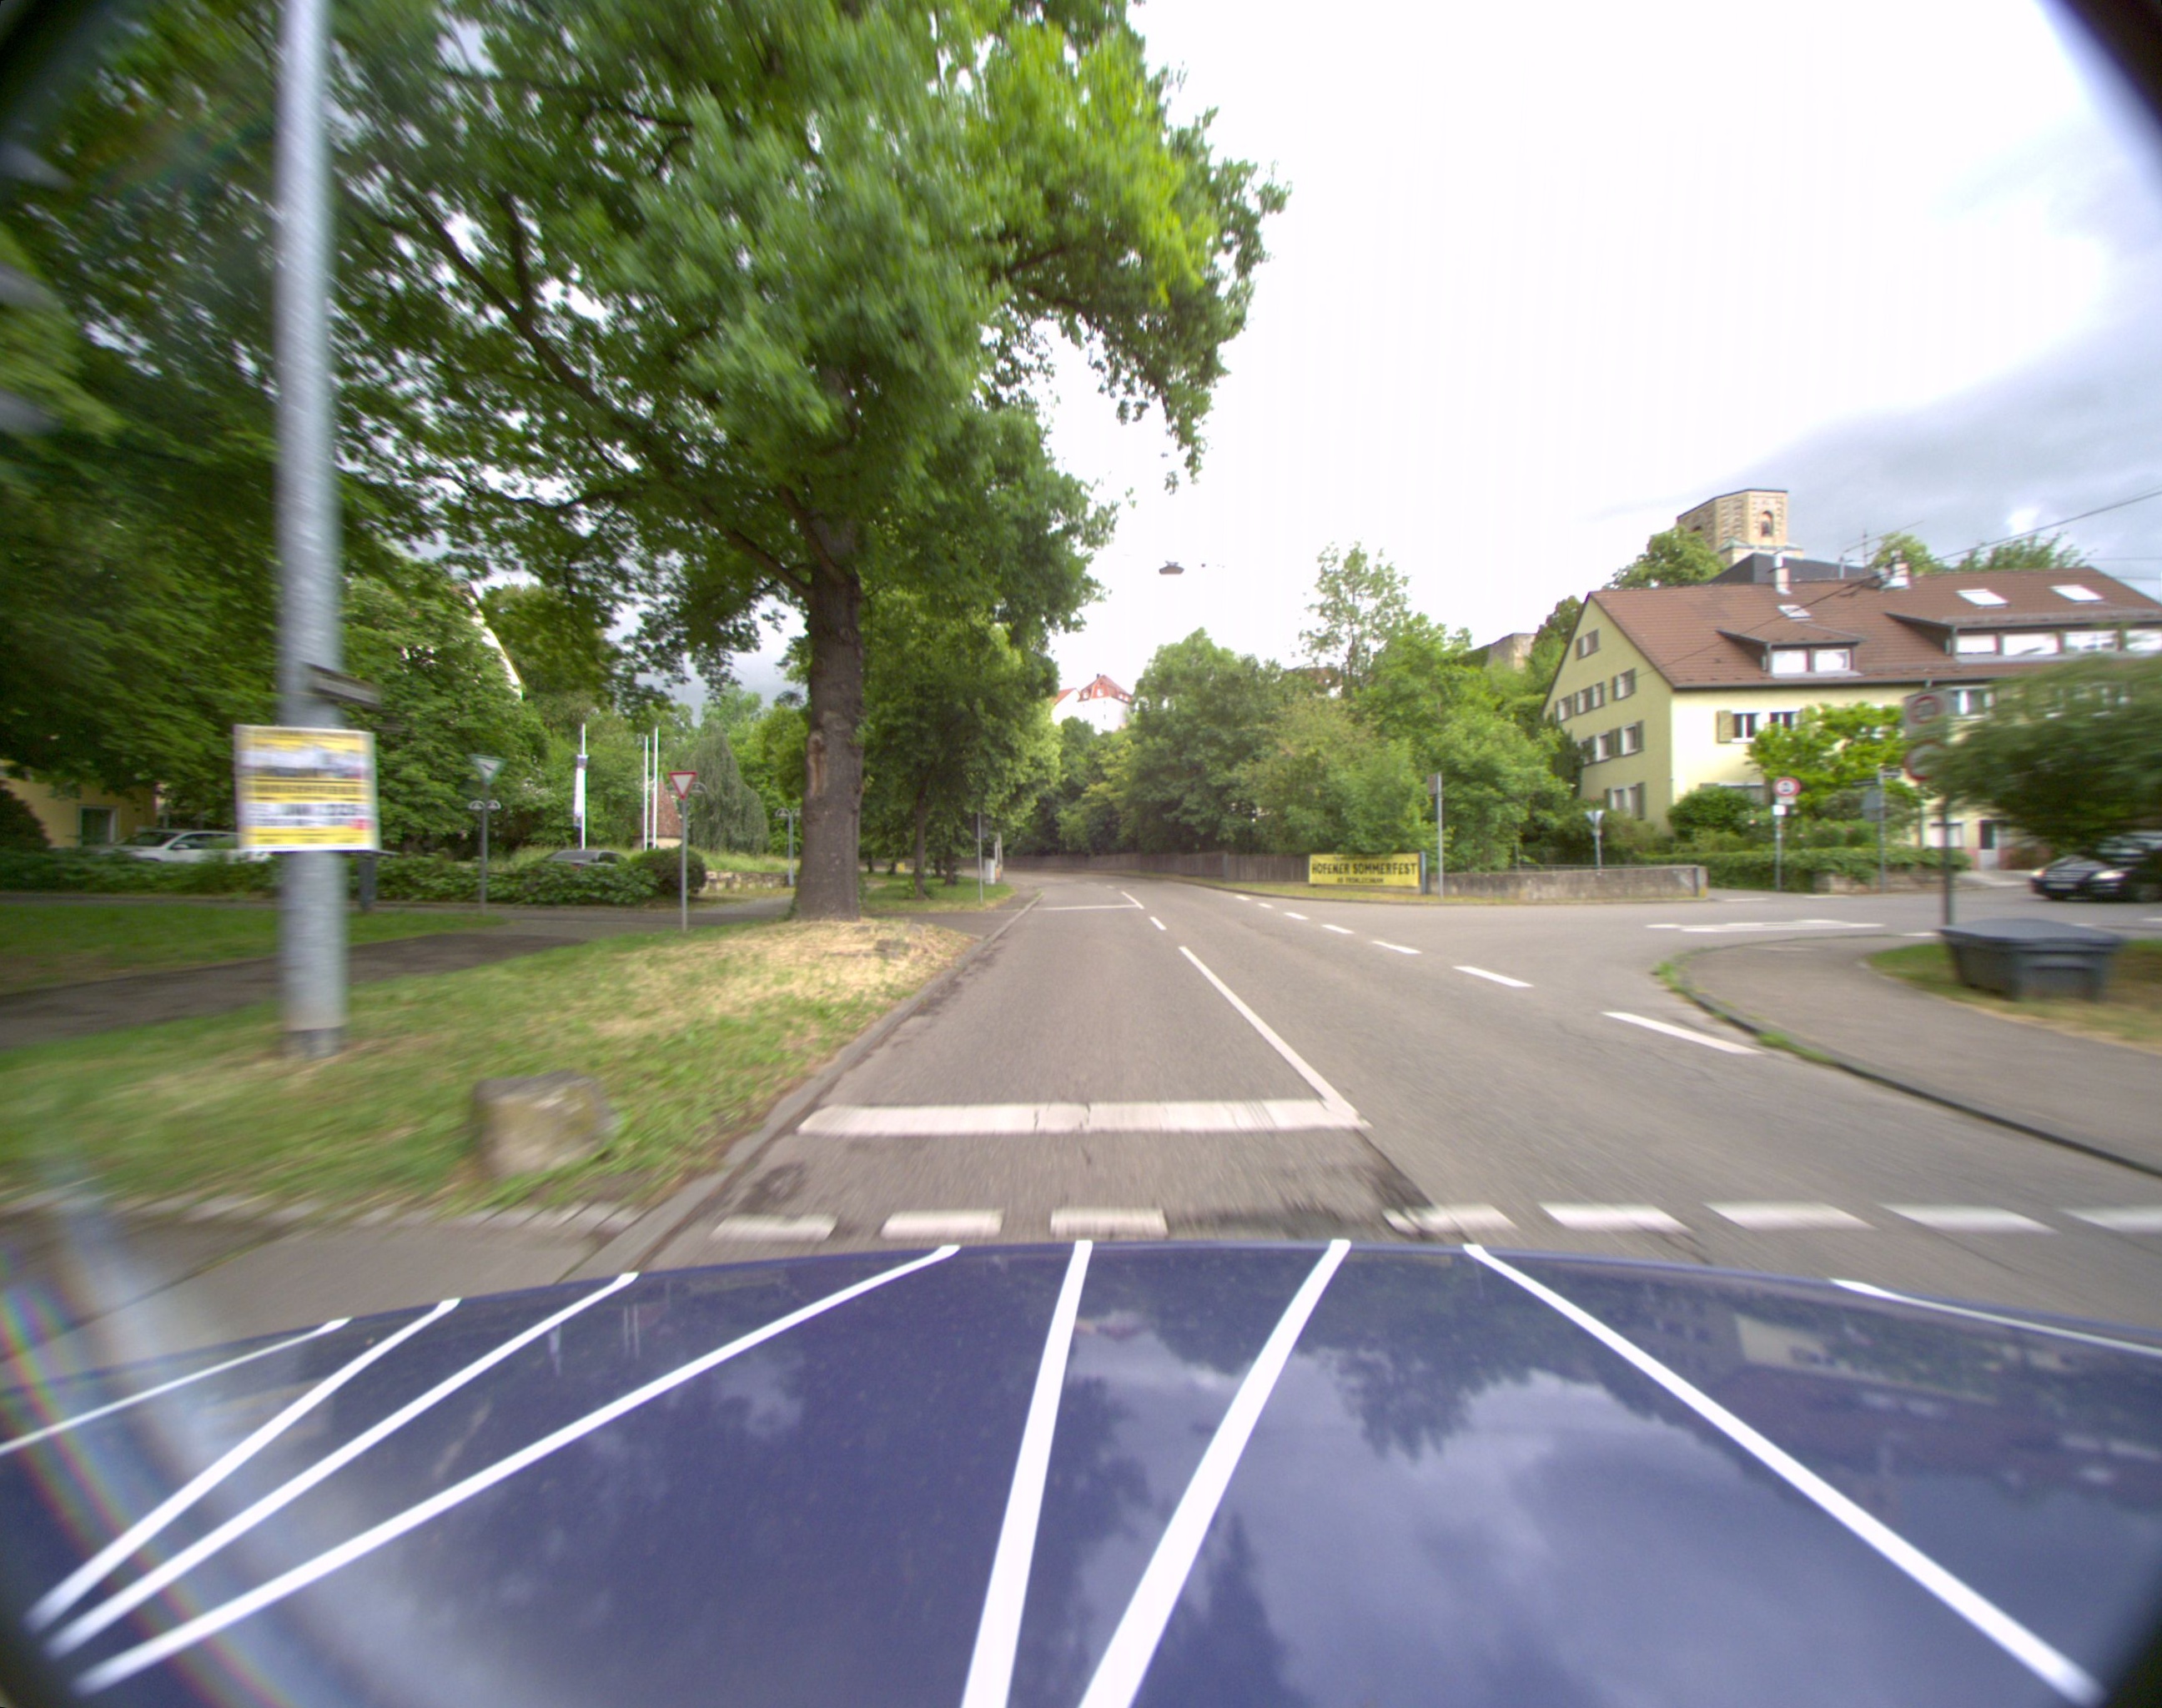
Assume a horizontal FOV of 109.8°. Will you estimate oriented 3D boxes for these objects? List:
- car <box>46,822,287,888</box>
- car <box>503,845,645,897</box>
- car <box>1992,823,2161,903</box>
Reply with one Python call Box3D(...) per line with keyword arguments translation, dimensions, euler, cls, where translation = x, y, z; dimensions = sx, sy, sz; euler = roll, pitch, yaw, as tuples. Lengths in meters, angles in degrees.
Box3D(translation=(-26.006, 0.111, 21.877), dimensions=(1.999, 1.640, 4.001), euler=(3, -2, 0), cls="car")
Box3D(translation=(-15.281, 0.562, 23.239), dimensions=(1.913, 1.422, 4.464), euler=(1, -2, -10), cls="car")
Box3D(translation=(24.443, 0.167, 17.704), dimensions=(3.997, 1.586, 1.946), euler=(-4, 0, 1), cls="car")
